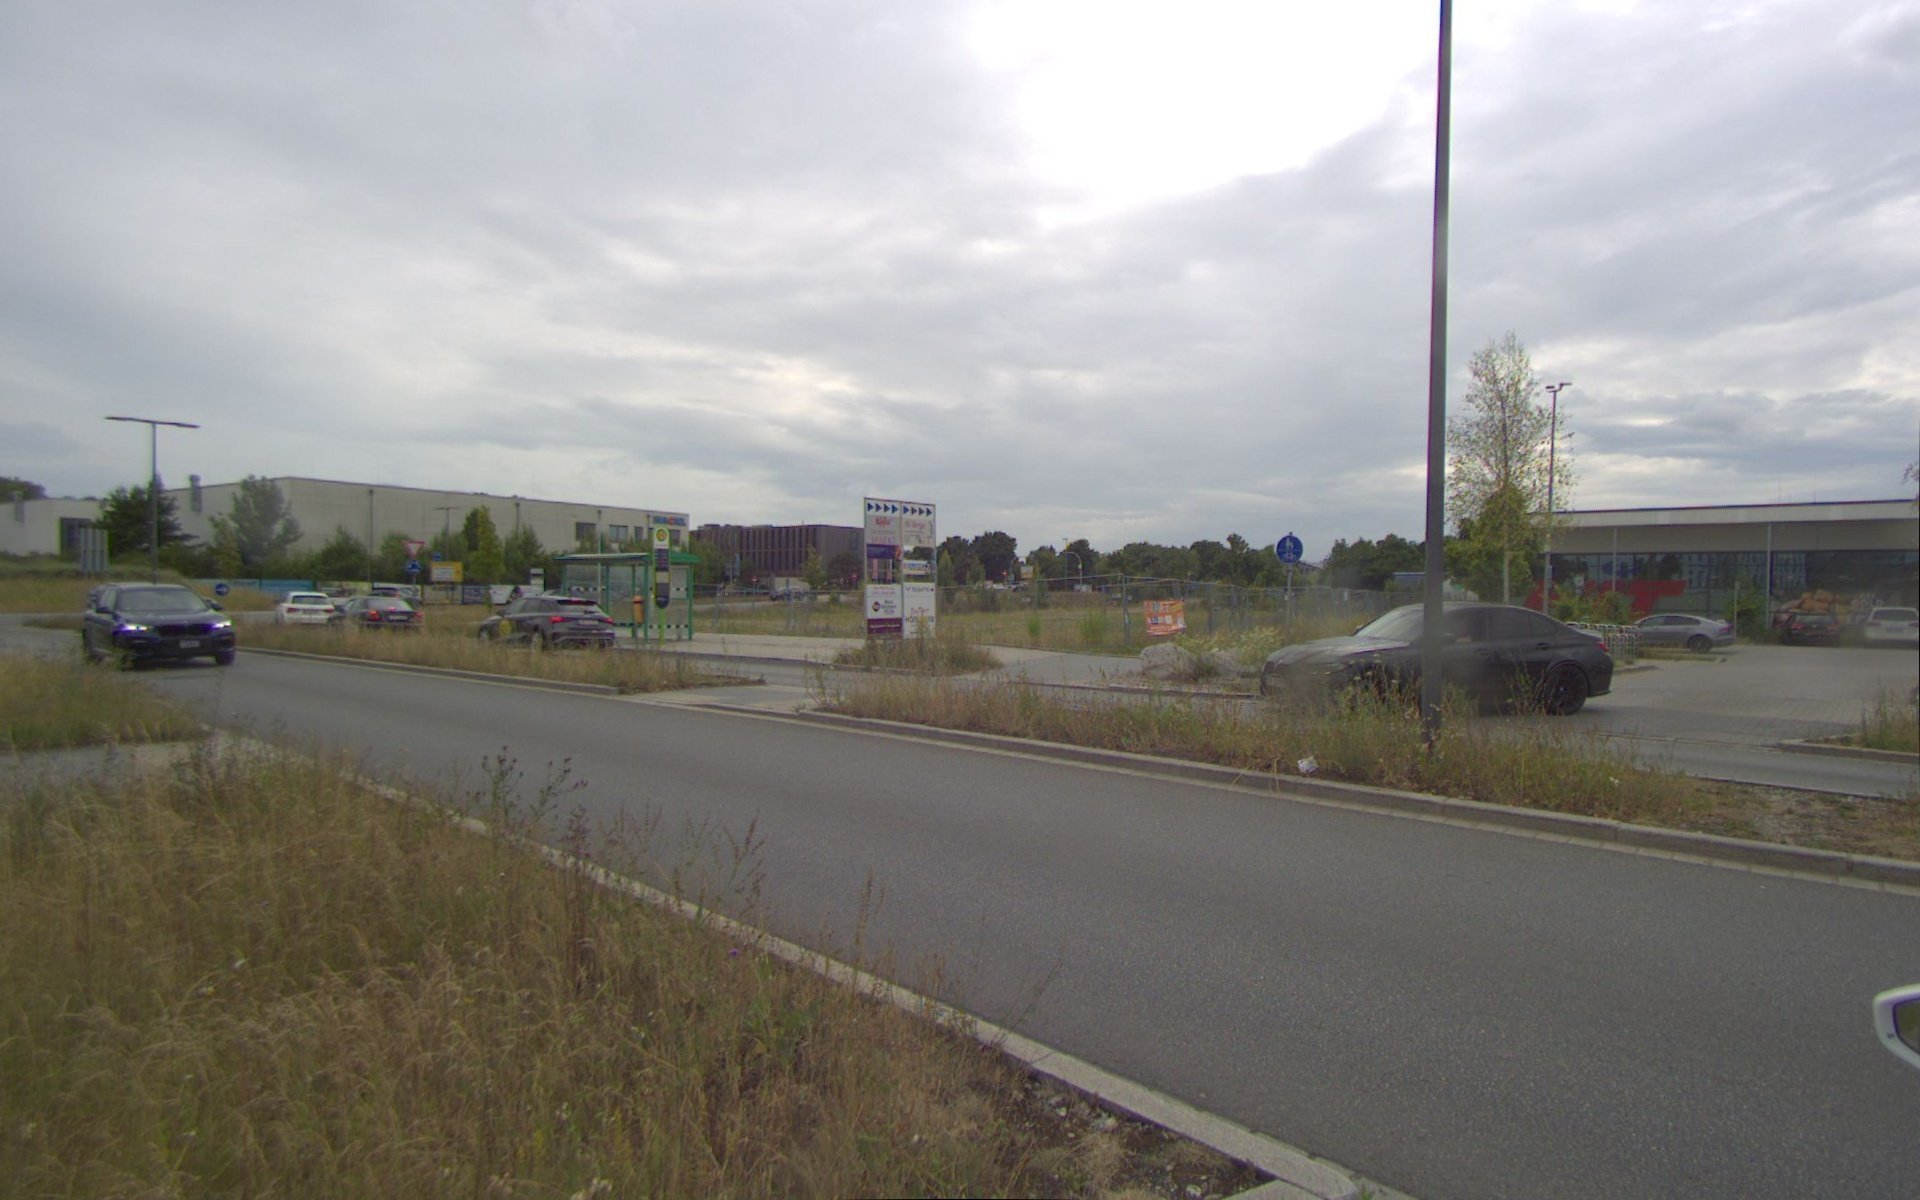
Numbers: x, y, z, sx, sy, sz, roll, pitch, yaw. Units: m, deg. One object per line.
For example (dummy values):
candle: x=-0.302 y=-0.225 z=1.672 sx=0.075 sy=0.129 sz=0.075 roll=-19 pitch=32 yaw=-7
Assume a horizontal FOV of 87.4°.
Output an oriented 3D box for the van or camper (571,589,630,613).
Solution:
van or camper: x=-27.713 y=0.102 z=77.670 sx=1.960 sy=1.772 sz=4.573 roll=2 pitch=0 yaw=17

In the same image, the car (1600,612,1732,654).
car: x=26.736 y=1.207 z=38.095 sx=3.939 sy=1.370 sz=1.991 roll=2 pitch=0 yaw=40

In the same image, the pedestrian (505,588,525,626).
pedestrian: x=-20.670 y=0.334 z=46.691 sx=0.731 sy=1.745 sz=0.649 roll=1 pitch=1 yaw=-15

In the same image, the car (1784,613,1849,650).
car: x=37.099 y=1.321 z=43.490 sx=1.887 sy=1.463 sz=3.975 roll=1 pitch=0 yaw=44

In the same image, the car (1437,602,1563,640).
car: x=25.413 y=0.953 z=47.321 sx=4.945 sy=1.578 sz=1.992 roll=2 pitch=0 yaw=38

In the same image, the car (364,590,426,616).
car: x=-31.091 y=0.139 z=55.384 sx=1.687 sy=1.361 sz=4.057 roll=1 pitch=1 yaw=-10

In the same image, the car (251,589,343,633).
car: x=-24.937 y=0.387 z=37.726 sx=3.993 sy=1.500 sz=1.751 roll=2 pitch=0 yaw=39

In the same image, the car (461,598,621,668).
car: x=-10.211 y=0.730 z=24.353 sx=4.254 sy=1.486 sz=1.790 roll=1 pitch=1 yaw=39

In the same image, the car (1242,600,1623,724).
car: x=6.286 y=0.748 z=13.509 sx=4.530 sy=1.465 sz=1.781 roll=0 pitch=1 yaw=-13

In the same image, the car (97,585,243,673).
car: x=-16.564 y=0.532 z=20.999 sx=3.944 sy=1.662 sz=1.883 roll=1 pitch=1 yaw=44

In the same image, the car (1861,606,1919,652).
car: x=38.838 y=1.155 z=41.798 sx=1.805 sy=1.723 sz=4.207 roll=1 pitch=1 yaw=44

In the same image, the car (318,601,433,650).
car: x=-18.843 y=0.798 z=32.308 sx=4.304 sy=1.414 sz=1.783 roll=1 pitch=-1 yaw=39

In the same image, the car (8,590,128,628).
car: x=-34.265 y=0.339 z=38.648 sx=1.536 sy=1.372 sz=3.278 roll=1 pitch=0 yaw=39
